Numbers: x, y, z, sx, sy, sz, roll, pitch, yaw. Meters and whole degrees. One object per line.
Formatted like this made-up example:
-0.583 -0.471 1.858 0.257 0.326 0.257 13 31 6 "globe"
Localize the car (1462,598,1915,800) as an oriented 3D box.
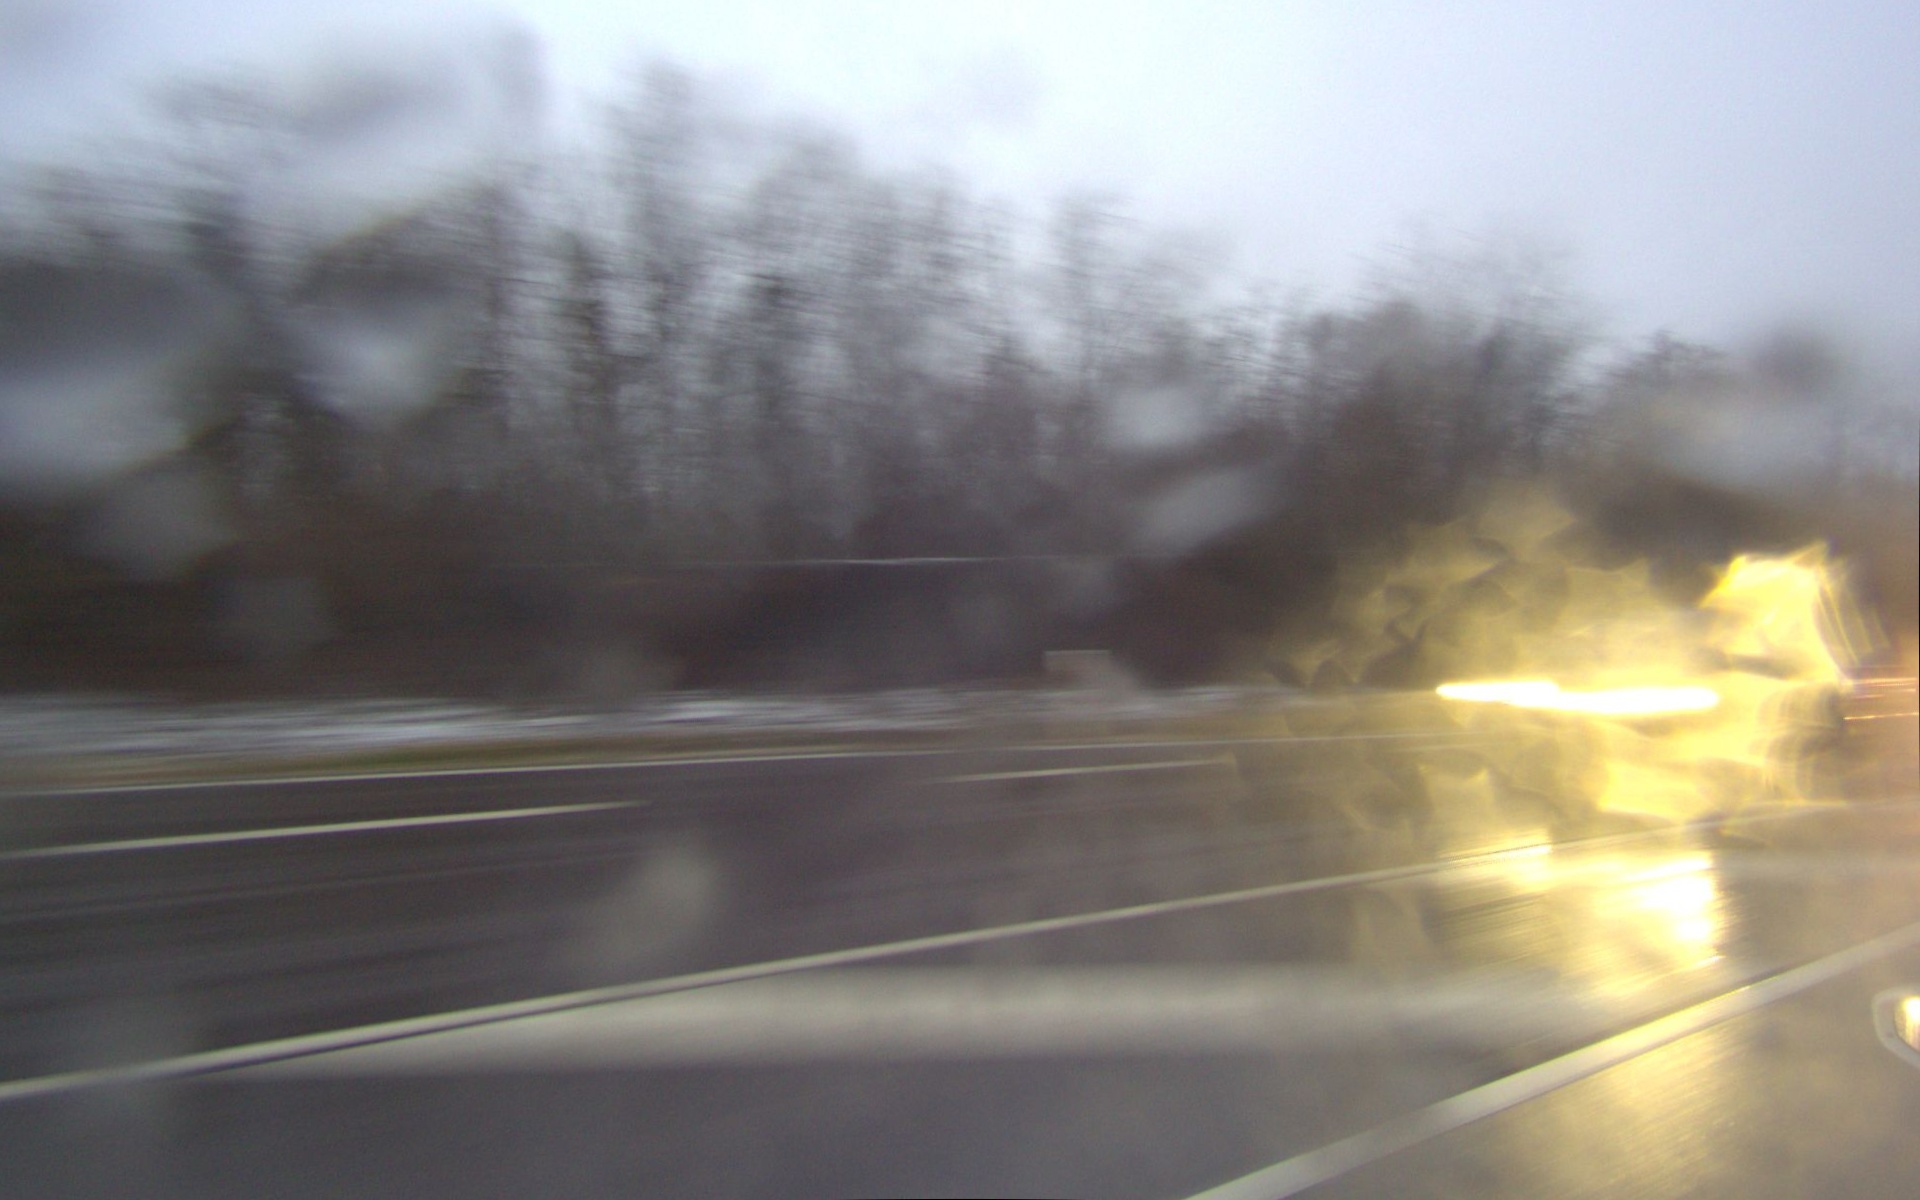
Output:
7.494 0.856 10.254 4.667 1.670 1.895 1 -1 -28 "car"
